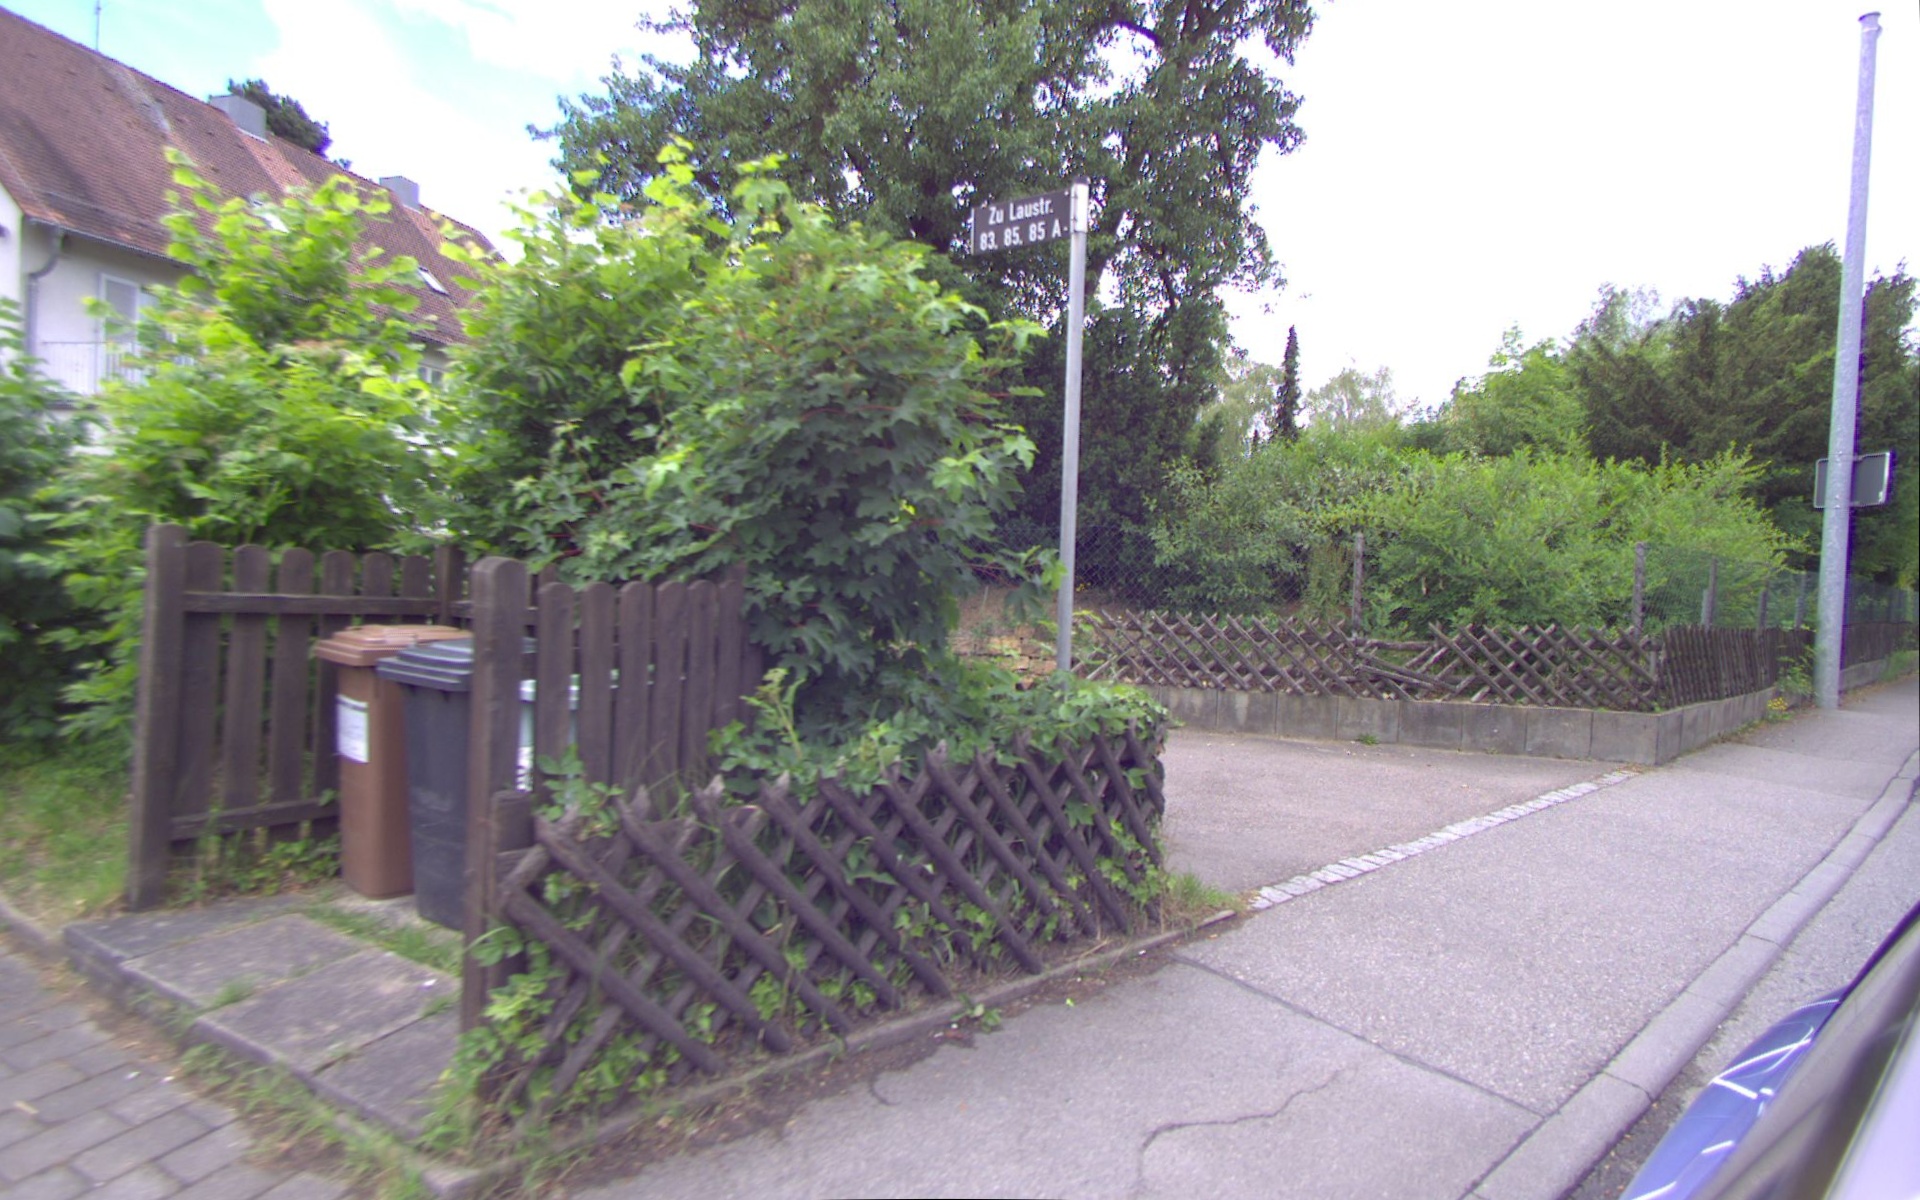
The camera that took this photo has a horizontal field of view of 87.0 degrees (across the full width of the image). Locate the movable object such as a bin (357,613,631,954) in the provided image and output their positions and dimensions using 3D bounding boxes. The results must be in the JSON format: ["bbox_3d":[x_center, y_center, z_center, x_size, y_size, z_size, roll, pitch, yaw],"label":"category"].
[{"bbox_3d":[-1.567,0.559,3.442,0.445,0.967,0.678,6,4,32],"label":"movable object such as a bin"}]

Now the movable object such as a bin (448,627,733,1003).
[{"bbox_3d":[-1.142,0.607,3.192,0.444,0.967,0.679,6,4,29],"label":"movable object such as a bin"}]

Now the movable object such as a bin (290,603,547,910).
[{"bbox_3d":[-1.988,0.522,3.747,0.445,0.967,0.678,6,4,32],"label":"movable object such as a bin"}]

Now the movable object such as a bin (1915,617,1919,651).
[{"bbox_3d":[29.557,1.059,30.790,0.534,1.058,0.505,4,1,22],"label":"movable object such as a bin"}]
